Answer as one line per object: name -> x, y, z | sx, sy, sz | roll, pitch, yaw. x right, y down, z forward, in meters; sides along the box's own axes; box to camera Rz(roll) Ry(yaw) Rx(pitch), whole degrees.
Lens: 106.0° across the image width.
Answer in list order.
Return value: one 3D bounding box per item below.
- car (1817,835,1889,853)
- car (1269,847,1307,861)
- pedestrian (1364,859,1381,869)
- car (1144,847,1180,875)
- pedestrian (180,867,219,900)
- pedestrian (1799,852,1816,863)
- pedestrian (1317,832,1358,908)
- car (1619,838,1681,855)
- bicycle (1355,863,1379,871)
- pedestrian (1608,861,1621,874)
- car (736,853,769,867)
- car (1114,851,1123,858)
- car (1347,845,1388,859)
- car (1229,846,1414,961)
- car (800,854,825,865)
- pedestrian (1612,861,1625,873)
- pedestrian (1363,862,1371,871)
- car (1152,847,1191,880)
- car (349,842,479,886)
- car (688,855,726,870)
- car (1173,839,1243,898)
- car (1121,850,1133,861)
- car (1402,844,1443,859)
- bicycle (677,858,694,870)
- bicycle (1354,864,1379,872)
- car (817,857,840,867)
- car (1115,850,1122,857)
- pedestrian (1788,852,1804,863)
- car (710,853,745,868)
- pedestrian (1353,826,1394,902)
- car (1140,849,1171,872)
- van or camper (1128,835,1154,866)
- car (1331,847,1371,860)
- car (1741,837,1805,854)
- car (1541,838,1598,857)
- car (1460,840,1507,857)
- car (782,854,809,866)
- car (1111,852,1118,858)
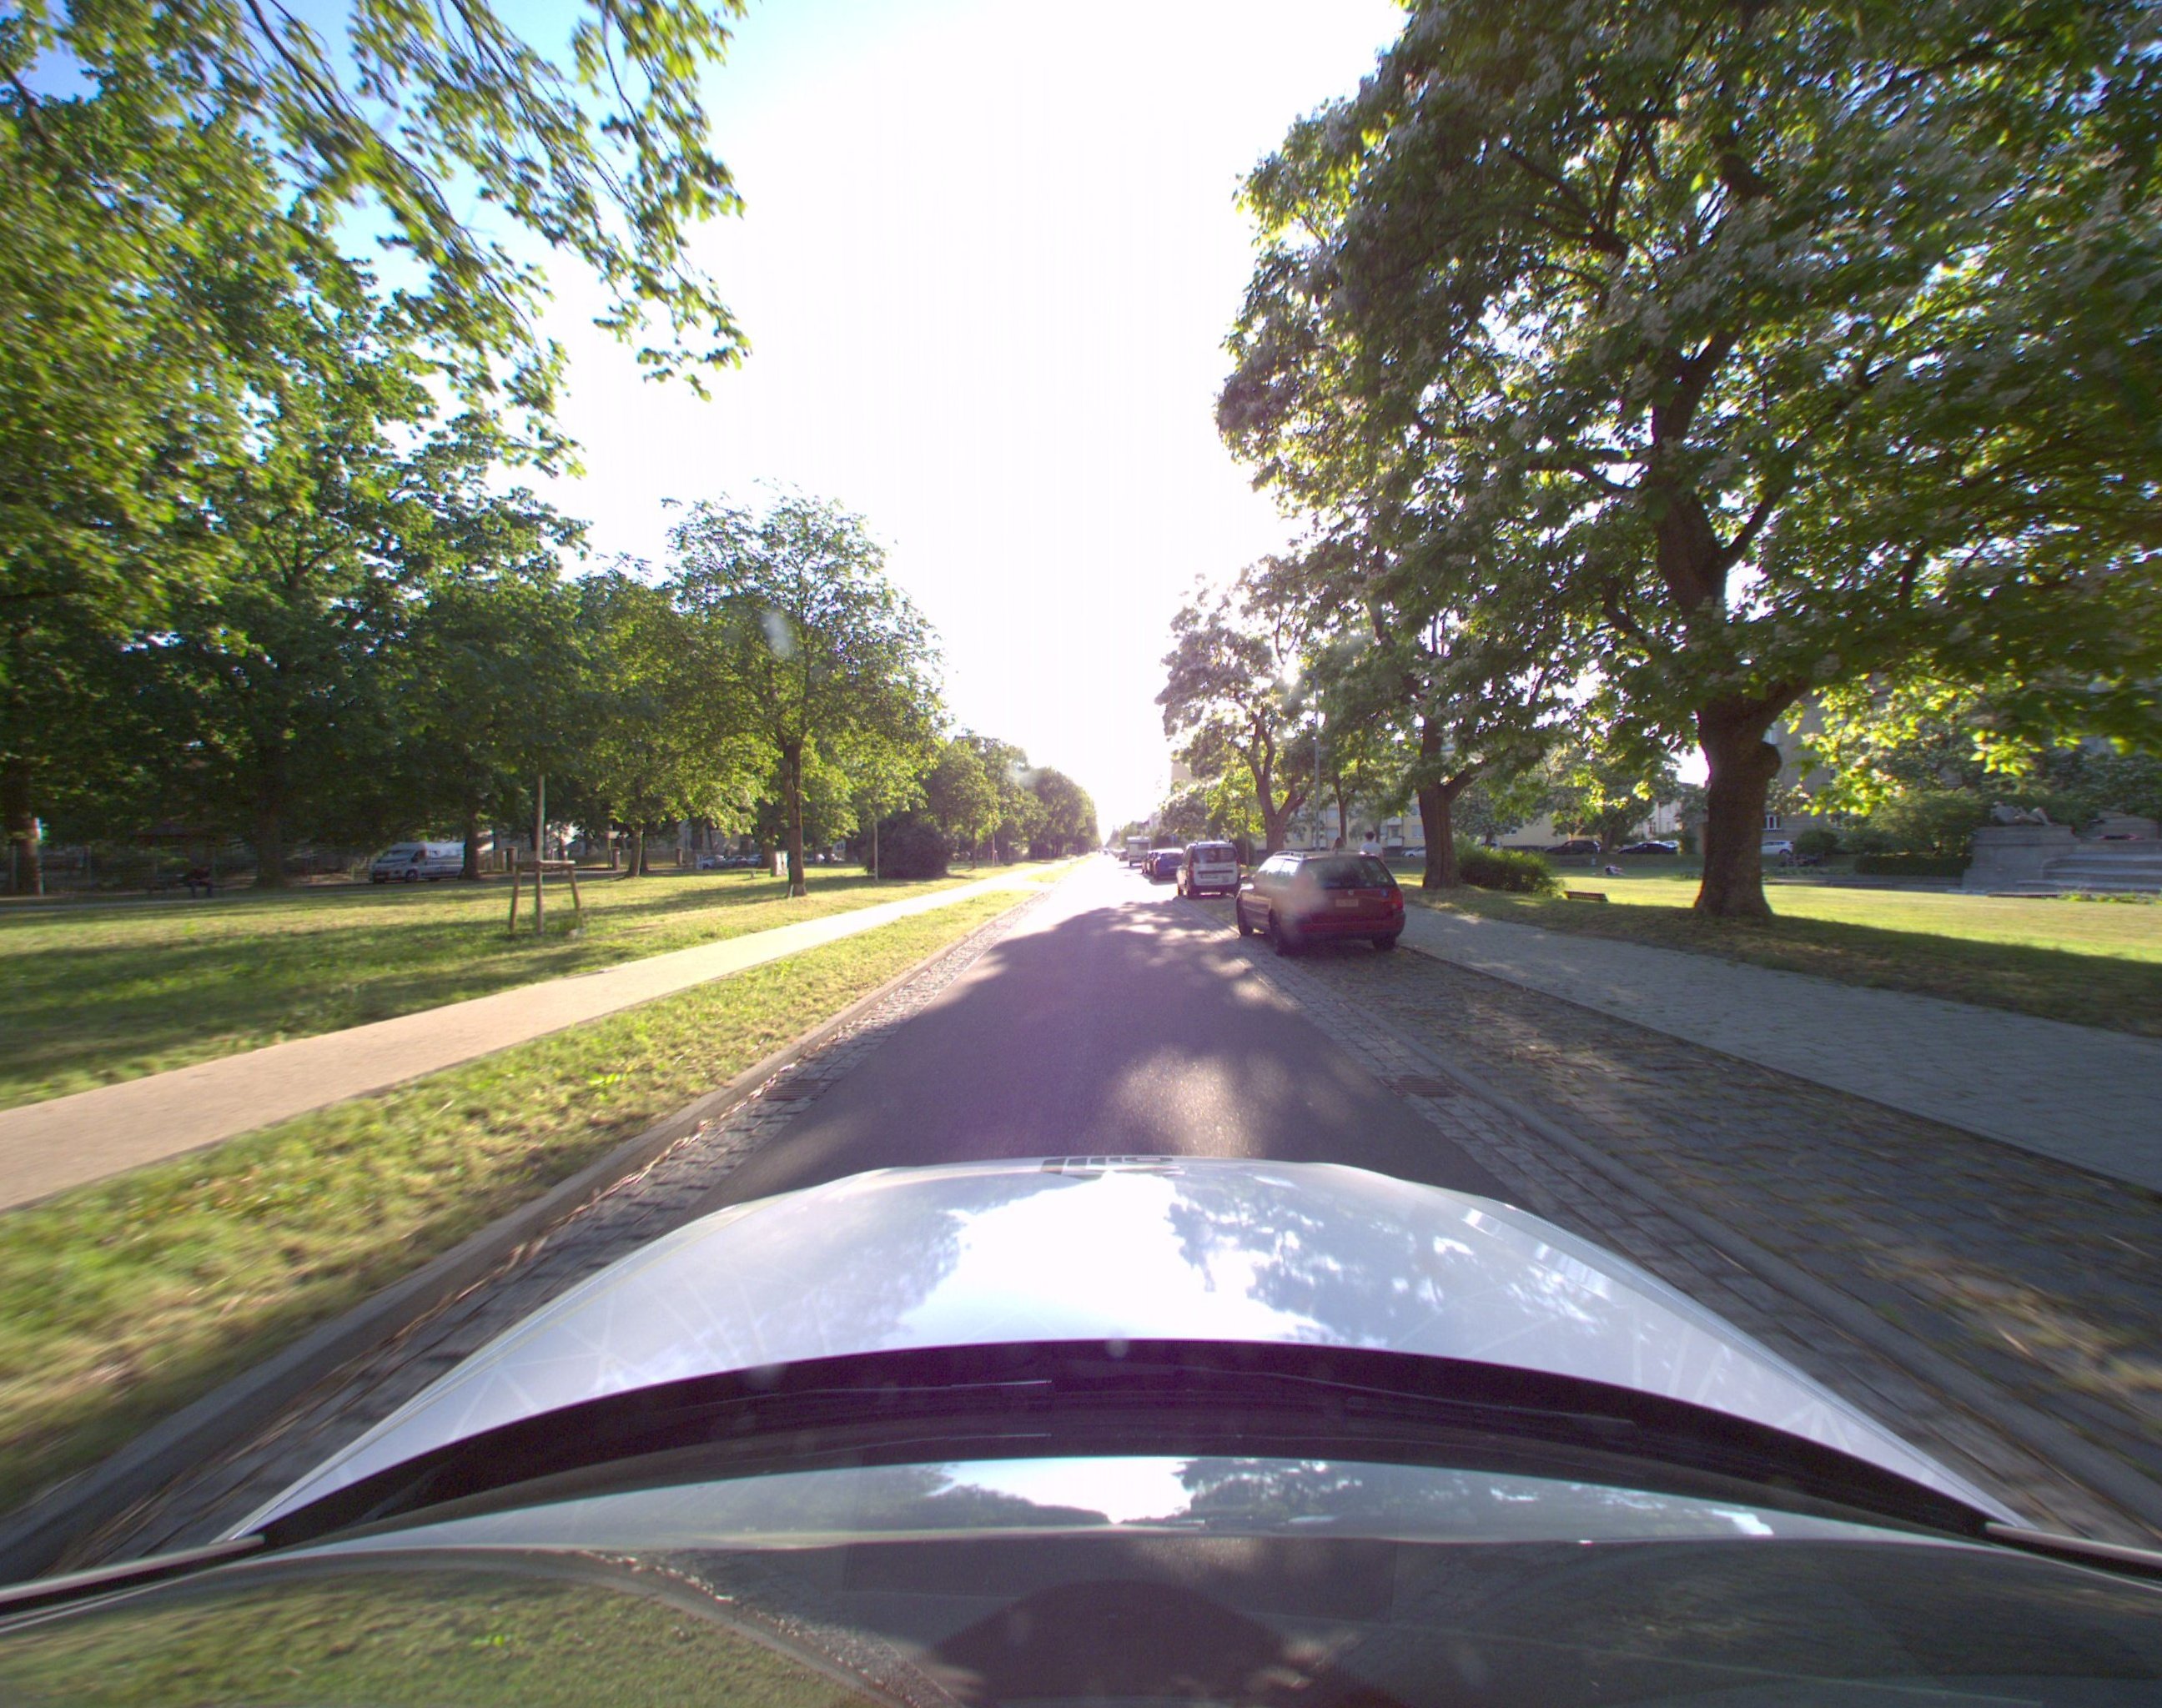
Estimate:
car -> 65.071, -0.835, 68.697 | 1.883, 1.453, 3.967 | -1, 0, -24
car -> 23.909, 0.016, 94.137 | 4.162, 1.462, 1.700 | -1, 0, 17
pedestrian -> 25.114, 0.841, 70.142 | 0.577, 0.812, 1.244 | 0, 0, -43
car -> 4.829, 0.424, 48.773 | 1.726, 1.551, 4.422 | -1, 0, 0
pedestrian -> -27.143, 0.903, 25.086 | 0.544, 0.987, 0.612 | -1, 0, 12
pedestrian -> 51.717, 0.267, 57.951 | 0.585, 0.794, 0.665 | -1, 0, -10
pedestrian -> 5.984, 0.368, 19.025 | 0.750, 1.736, 0.732 | 0, 0, 2
car -> 53.025, -0.667, 75.960 | 1.889, 1.453, 4.319 | -1, 0, -36
bicycle -> 24.187, 1.111, 68.830 | 1.749, 0.615, 1.823 | -1, 0, 26
pedestrian -> 34.655, 0.863, 52.903 | 0.671, 0.794, 0.580 | -1, -1, -41
car -> -38.927, 0.702, 96.640 | 1.985, 1.508, 4.118 | -1, 0, 2
car -> 8.047, 0.117, 174.891 | 1.620, 1.410, 4.250 | -1, 0, 1
car -> 34.237, -0.239, 97.283 | 4.473, 1.569, 1.890 | -1, 0, 20
car -> 3.641, 0.667, 13.262 | 1.672, 1.486, 4.811 | -1, 0, 1
car -> -38.674, 0.728, 117.291 | 1.985, 1.508, 4.118 | -1, 0, 2
pedestrian -> 35.231, 0.851, 53.390 | 0.671, 0.794, 0.580 | -1, -1, -41
pedestrian -> 25.020, 1.086, 71.251 | 0.470, 0.812, 0.612 | 0, 0, 3
car -> 4.672, 0.473, 42.520 | 1.725, 1.551, 4.278 | -1, 0, 3
car -> -40.609, 0.559, 49.889 | 2.711, 2.463, 6.318 | -1, 0, 0
car -> -39.397, 0.860, 85.883 | 1.985, 1.508, 4.002 | -1, 0, 2
car -> 4.134, 0.448, 27.101 | 1.672, 1.740, 4.515 | -1, 0, 1
car -> 6.774, 0.247, 121.369 | 1.620, 1.669, 4.250 | -1, 0, 1
car -> 37.198, -0.239, 88.728 | 3.949, 1.552, 1.620 | -1, 0, 29
bicycle -> -41.216, 1.061, 84.934 | 0.655, 1.175, 2.332 | -1, 0, -1
bicycle -> 23.694, 1.125, 67.576 | 1.749, 0.615, 1.823 | -1, 0, 26
car -> -38.273, 1.220, 123.698 | 1.985, 1.508, 4.118 | -1, 0, 2
car -> 8.609, -0.074, 186.270 | 1.620, 1.410, 4.250 | -1, 0, 1
pedestrian -> 51.578, 0.252, 58.738 | 0.585, 0.794, 0.665 | -1, 0, -10
car -> -39.265, 0.705, 90.486 | 1.985, 1.508, 4.002 | -1, 0, 2
pedestrian -> 6.819, 0.233, 19.032 | 0.722, 1.736, 0.732 | 0, 0, 2
car -> 5.012, 0.411, 55.357 | 1.622, 1.464, 4.246 | -1, 0, -2
van or camper -> 5.830, -0.312, 79.993 | 2.226, 2.904, 5.674 | -1, -1, 1
car -> 30.526, -0.049, 92.102 | 4.158, 1.357, 1.702 | -1, 0, 22
car -> 62.341, -0.738, 73.413 | 1.886, 1.453, 3.962 | -1, 0, -29
car -> 48.291, -0.643, 80.511 | 1.891, 1.746, 4.470 | -1, 0, -45
car -> 44.989, -0.605, 91.099 | 4.467, 1.746, 1.893 | -2, 0, 36
car -> -38.295, 0.784, 109.320 | 1.985, 1.508, 4.118 | -1, 0, 2
car -> 9.191, 0.321, 223.004 | 1.620, 1.410, 4.250 | -1, 0, 1
